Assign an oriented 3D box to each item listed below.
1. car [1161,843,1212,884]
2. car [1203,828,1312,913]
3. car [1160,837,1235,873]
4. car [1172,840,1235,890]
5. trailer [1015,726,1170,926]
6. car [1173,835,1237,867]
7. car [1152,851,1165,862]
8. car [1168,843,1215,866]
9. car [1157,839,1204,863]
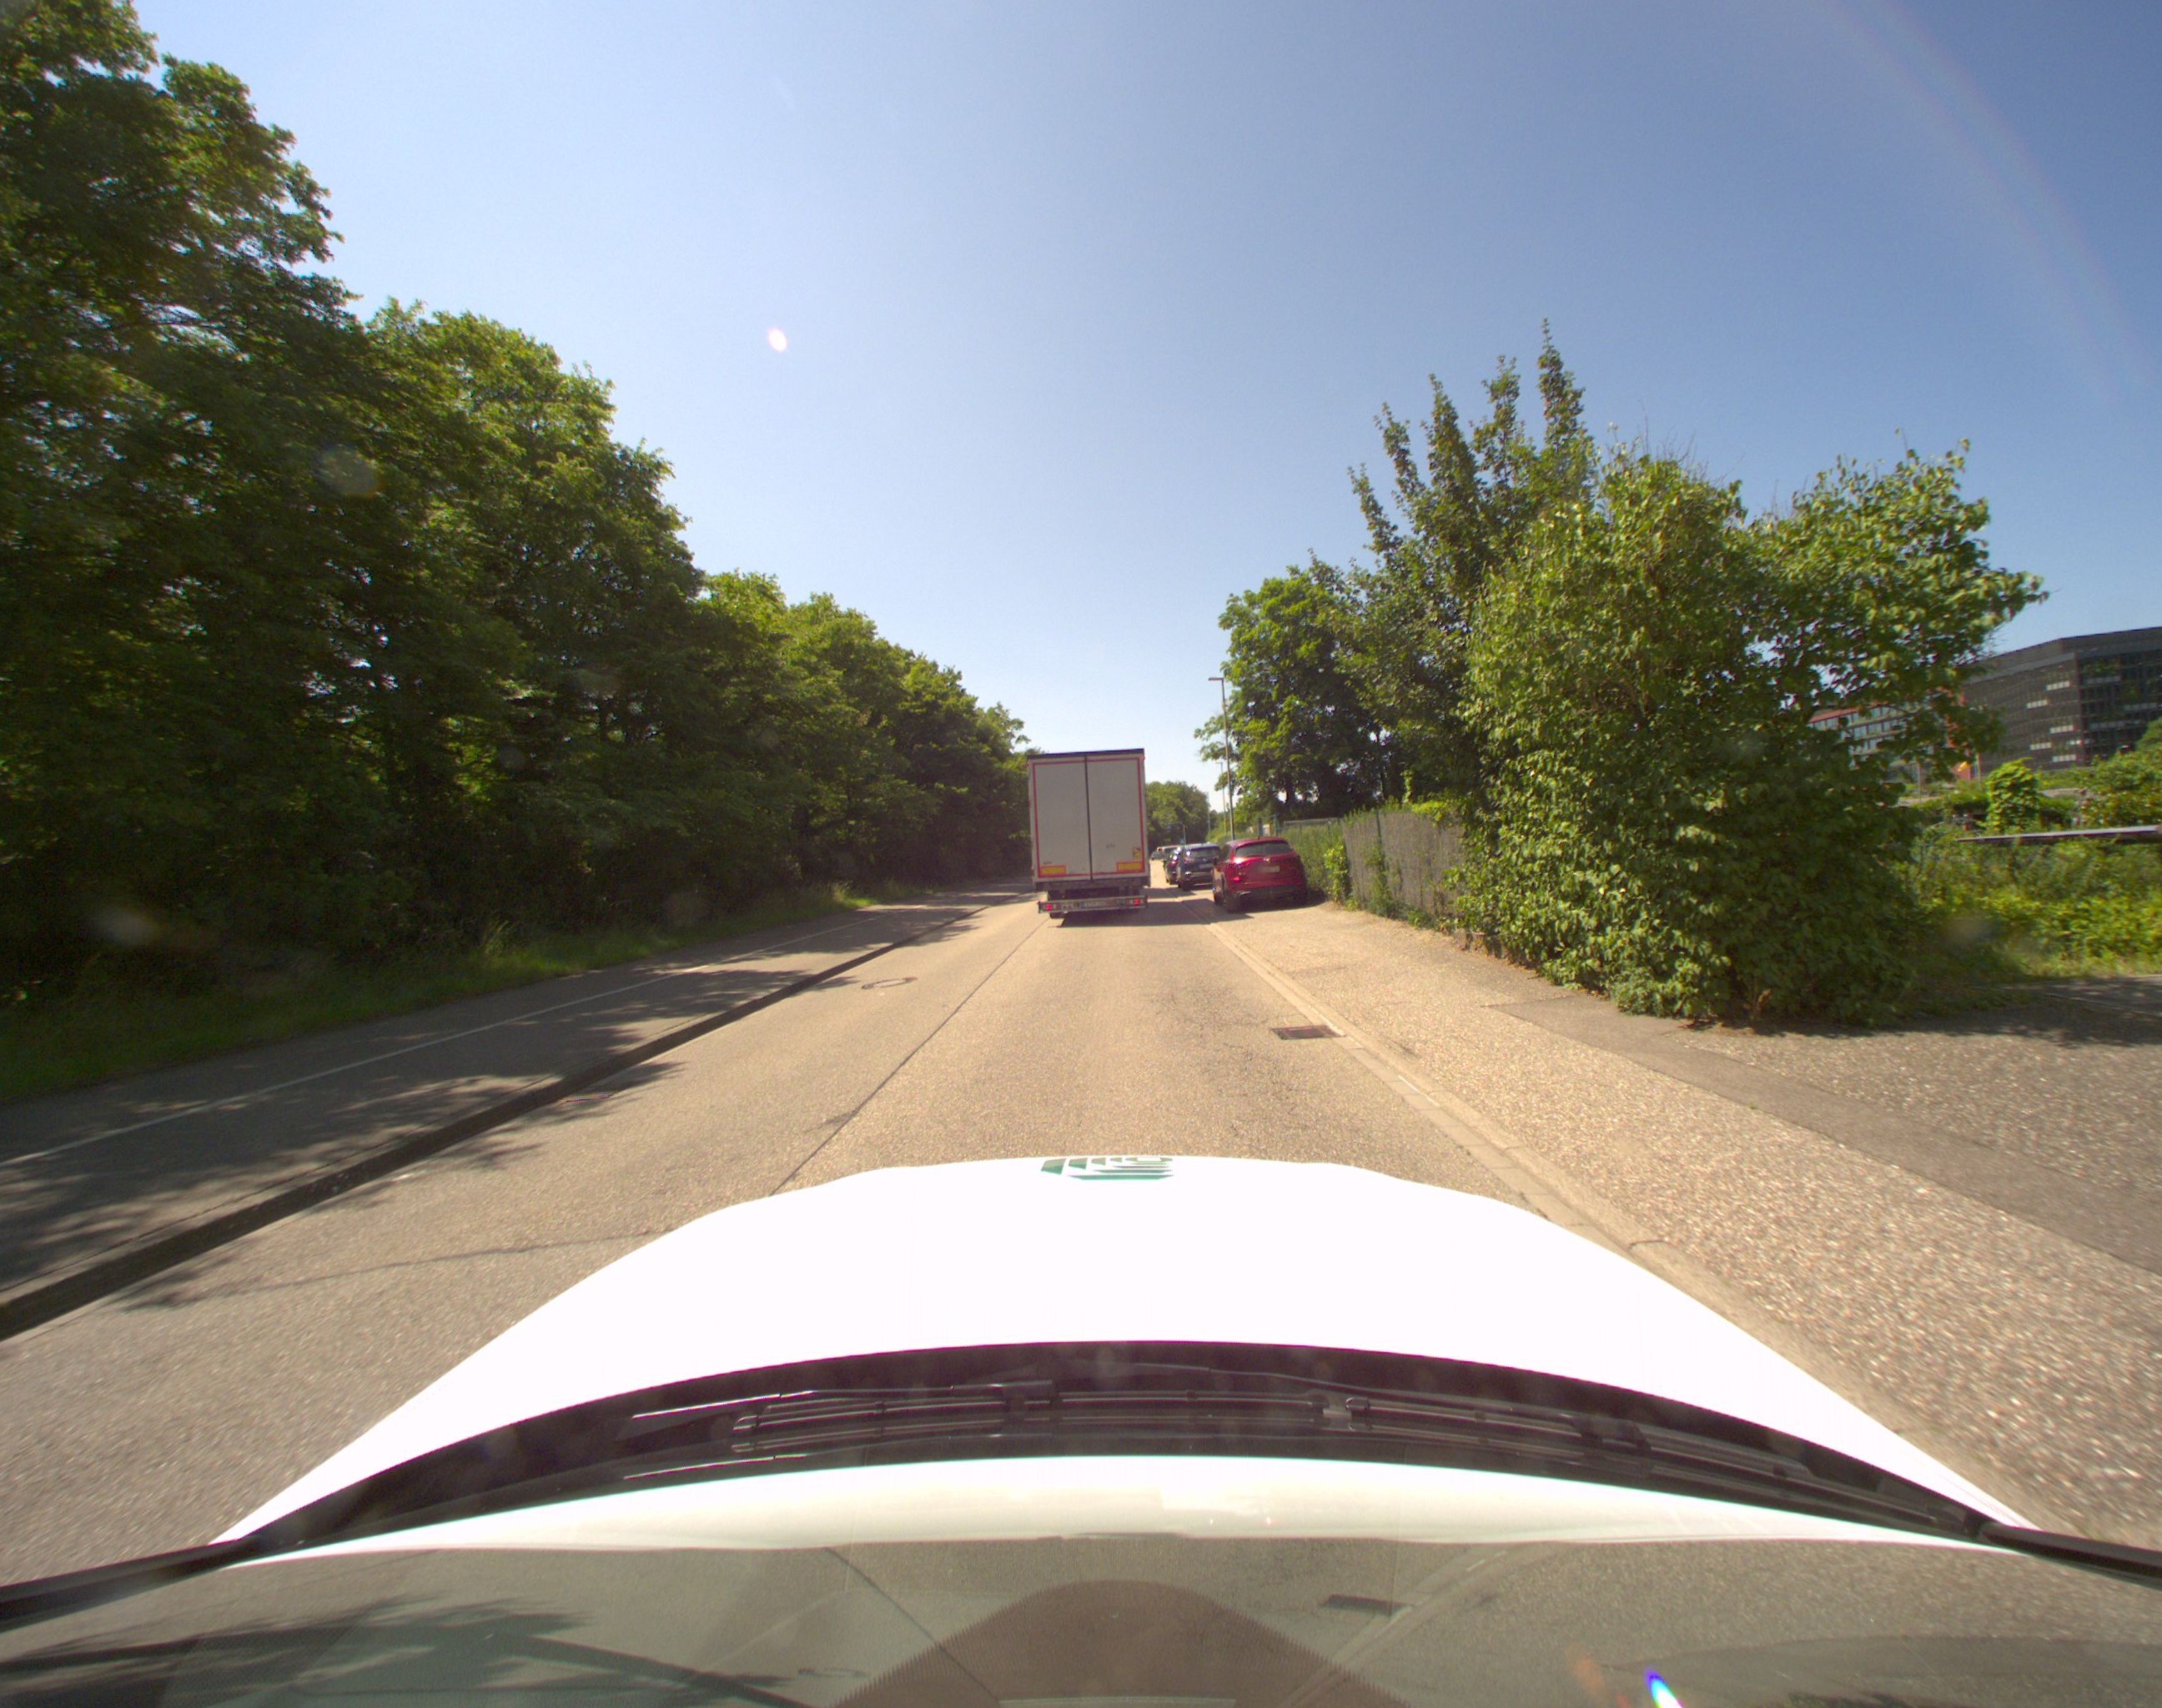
[{"bbox_3d":[4.654,0.389,36.500,1.782,1.481,4.669,-7,0,3],"label":"car"},{"bbox_3d":[4.217,0.350,20.168,1.782,1.658,4.456,-7,0,3],"label":"car"},{"bbox_3d":[7.444,0.087,52.232,4.452,1.704,1.915,-7,0,3],"label":"car"},{"bbox_3d":[4.482,0.350,30.355,1.782,1.603,4.133,-5,1,3],"label":"car"},{"bbox_3d":[0.405,-0.607,23.142,3.101,4.102,11.540,-3,0,2],"label":"trailer"},{"bbox_3d":[8.644,-0.184,57.013,4.236,1.698,1.857,-7,0,6],"label":"car"},{"bbox_3d":[11.763,0.403,123.276,1.770,1.486,4.010,-3,0,9],"label":"car"},{"bbox_3d":[9.671,0.026,71.359,3.900,1.478,1.848,-7,0,6],"label":"car"},{"bbox_3d":[10.151,-0.309,83.108,4.597,1.848,2.000,-7,0,6],"label":"car"}]
